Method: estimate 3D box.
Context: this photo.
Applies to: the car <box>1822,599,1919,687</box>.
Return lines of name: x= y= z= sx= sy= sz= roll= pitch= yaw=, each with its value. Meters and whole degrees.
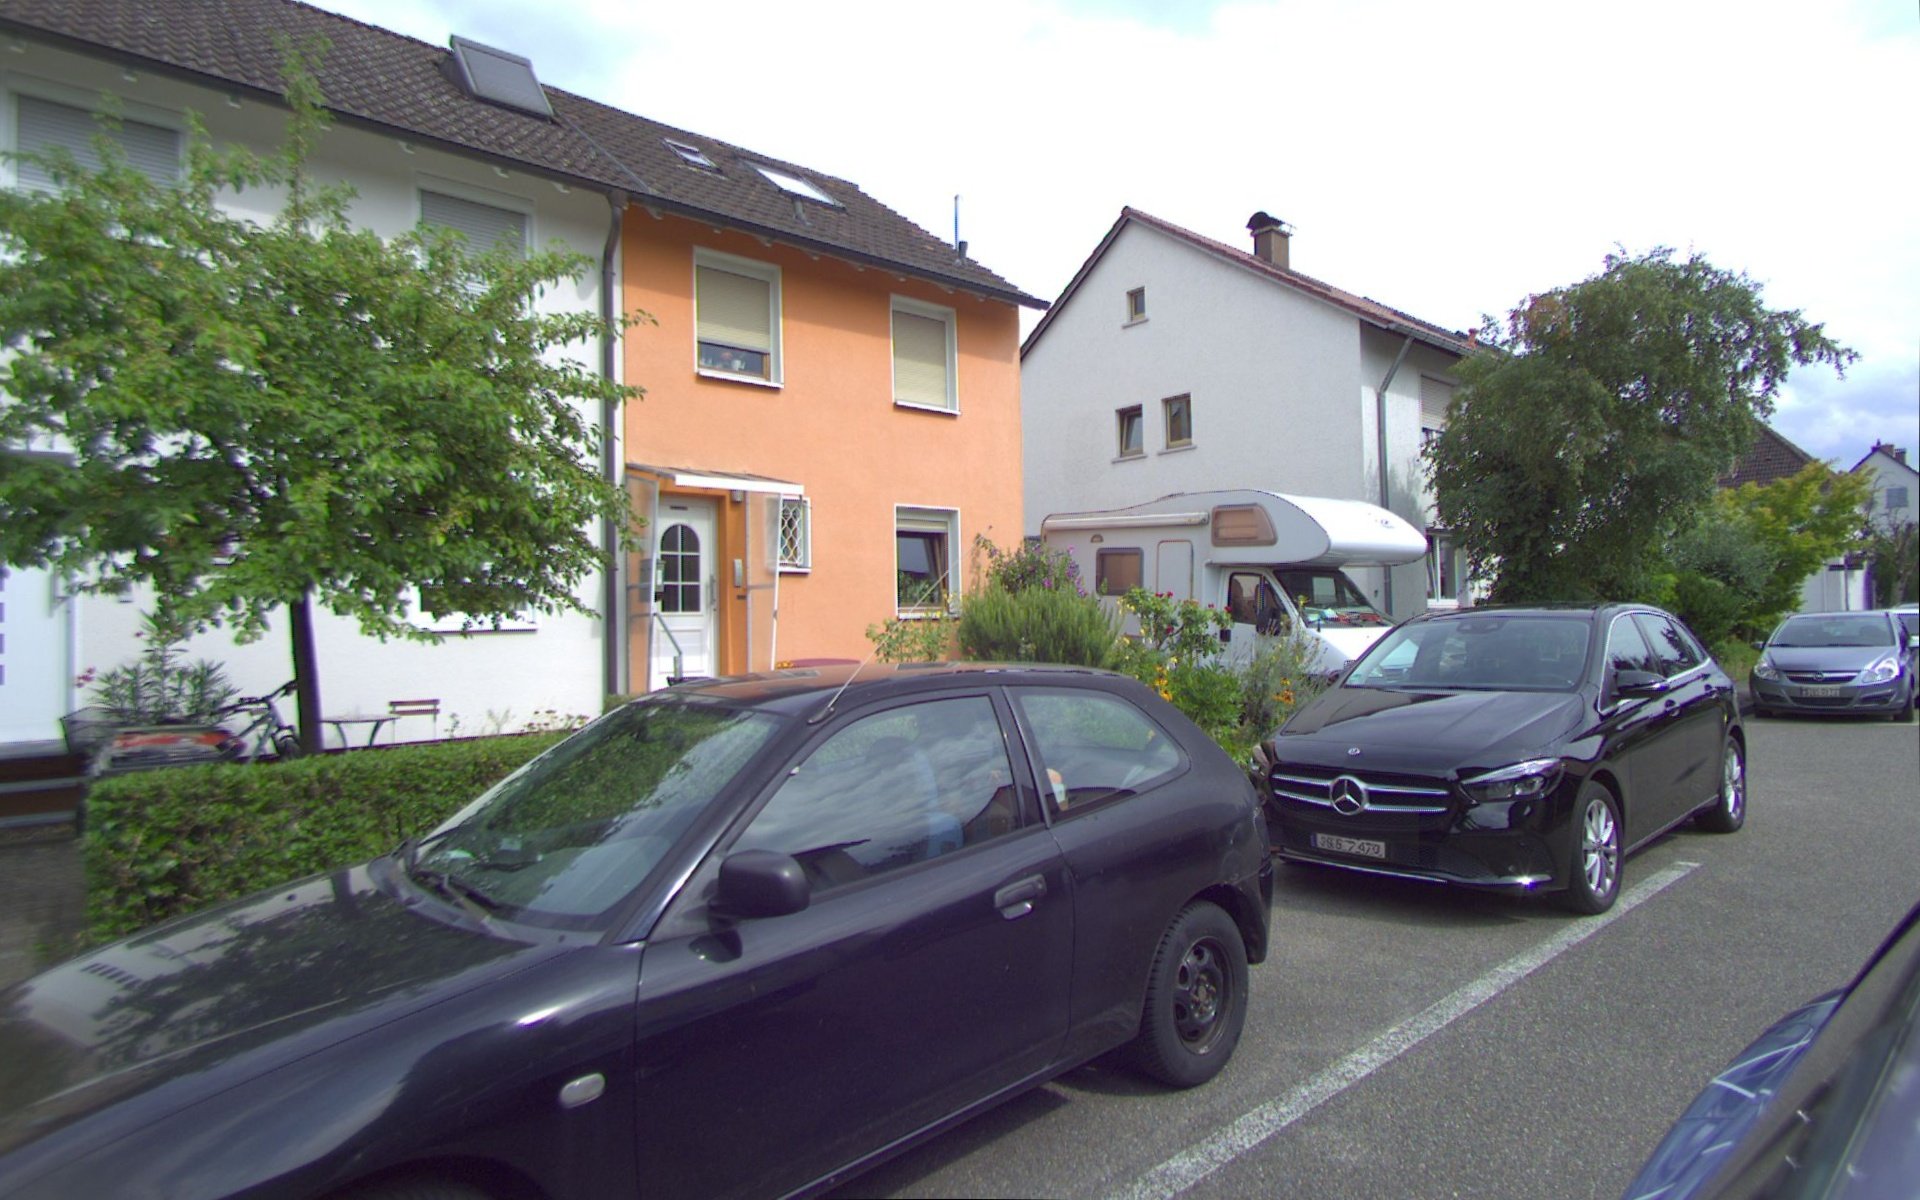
car: x=16.908 y=0.692 z=18.024 sx=4.616 sy=1.382 sz=1.695 roll=-1 pitch=-1 yaw=-41

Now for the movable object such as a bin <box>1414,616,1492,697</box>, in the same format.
movable object such as a bin: x=7.773 y=0.864 z=15.950 sx=1.080 sy=1.209 sz=0.721 roll=0 pitch=-1 yaw=-40

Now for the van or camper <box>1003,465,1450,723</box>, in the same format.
van or camper: x=3.401 y=-0.018 z=14.278 sx=2.490 sy=2.854 sz=5.814 roll=1 pitch=-1 yaw=-37

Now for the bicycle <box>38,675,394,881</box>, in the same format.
bicycle: x=-4.670 y=1.048 z=6.488 sx=0.656 sy=0.995 sz=1.734 roll=-1 pitch=-1 yaw=30

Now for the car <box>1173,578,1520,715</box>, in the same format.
car: x=5.580 y=0.646 z=15.172 sx=1.864 sy=1.730 sz=4.542 roll=-1 pitch=-1 yaw=-37

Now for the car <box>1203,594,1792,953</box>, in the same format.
car: x=3.654 y=0.742 z=6.436 sx=4.566 sy=1.486 sz=1.752 roll=-1 pitch=-1 yaw=-41

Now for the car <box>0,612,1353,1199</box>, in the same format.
car: x=-0.662 y=0.806 z=2.936 sx=4.056 sy=1.446 sz=1.734 roll=-1 pitch=-1 yaw=-43

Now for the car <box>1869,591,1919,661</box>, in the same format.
car: x=21.827 y=0.512 z=22.385 sx=4.764 sy=1.458 sz=1.871 roll=-1 pitch=-1 yaw=-40

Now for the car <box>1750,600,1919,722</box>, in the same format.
car: x=12.882 y=0.758 z=14.370 sx=4.142 sy=1.489 sz=1.745 roll=0 pitch=-1 yaw=-40

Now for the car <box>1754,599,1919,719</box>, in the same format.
car: x=12.803 y=0.749 z=14.366 sx=4.149 sy=1.461 sz=1.704 roll=0 pitch=-3 yaw=-43

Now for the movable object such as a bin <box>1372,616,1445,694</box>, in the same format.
movable object such as a bin: x=7.317 y=0.874 z=16.497 sx=1.122 sy=1.191 sz=0.654 roll=0 pitch=-1 yaw=-41
